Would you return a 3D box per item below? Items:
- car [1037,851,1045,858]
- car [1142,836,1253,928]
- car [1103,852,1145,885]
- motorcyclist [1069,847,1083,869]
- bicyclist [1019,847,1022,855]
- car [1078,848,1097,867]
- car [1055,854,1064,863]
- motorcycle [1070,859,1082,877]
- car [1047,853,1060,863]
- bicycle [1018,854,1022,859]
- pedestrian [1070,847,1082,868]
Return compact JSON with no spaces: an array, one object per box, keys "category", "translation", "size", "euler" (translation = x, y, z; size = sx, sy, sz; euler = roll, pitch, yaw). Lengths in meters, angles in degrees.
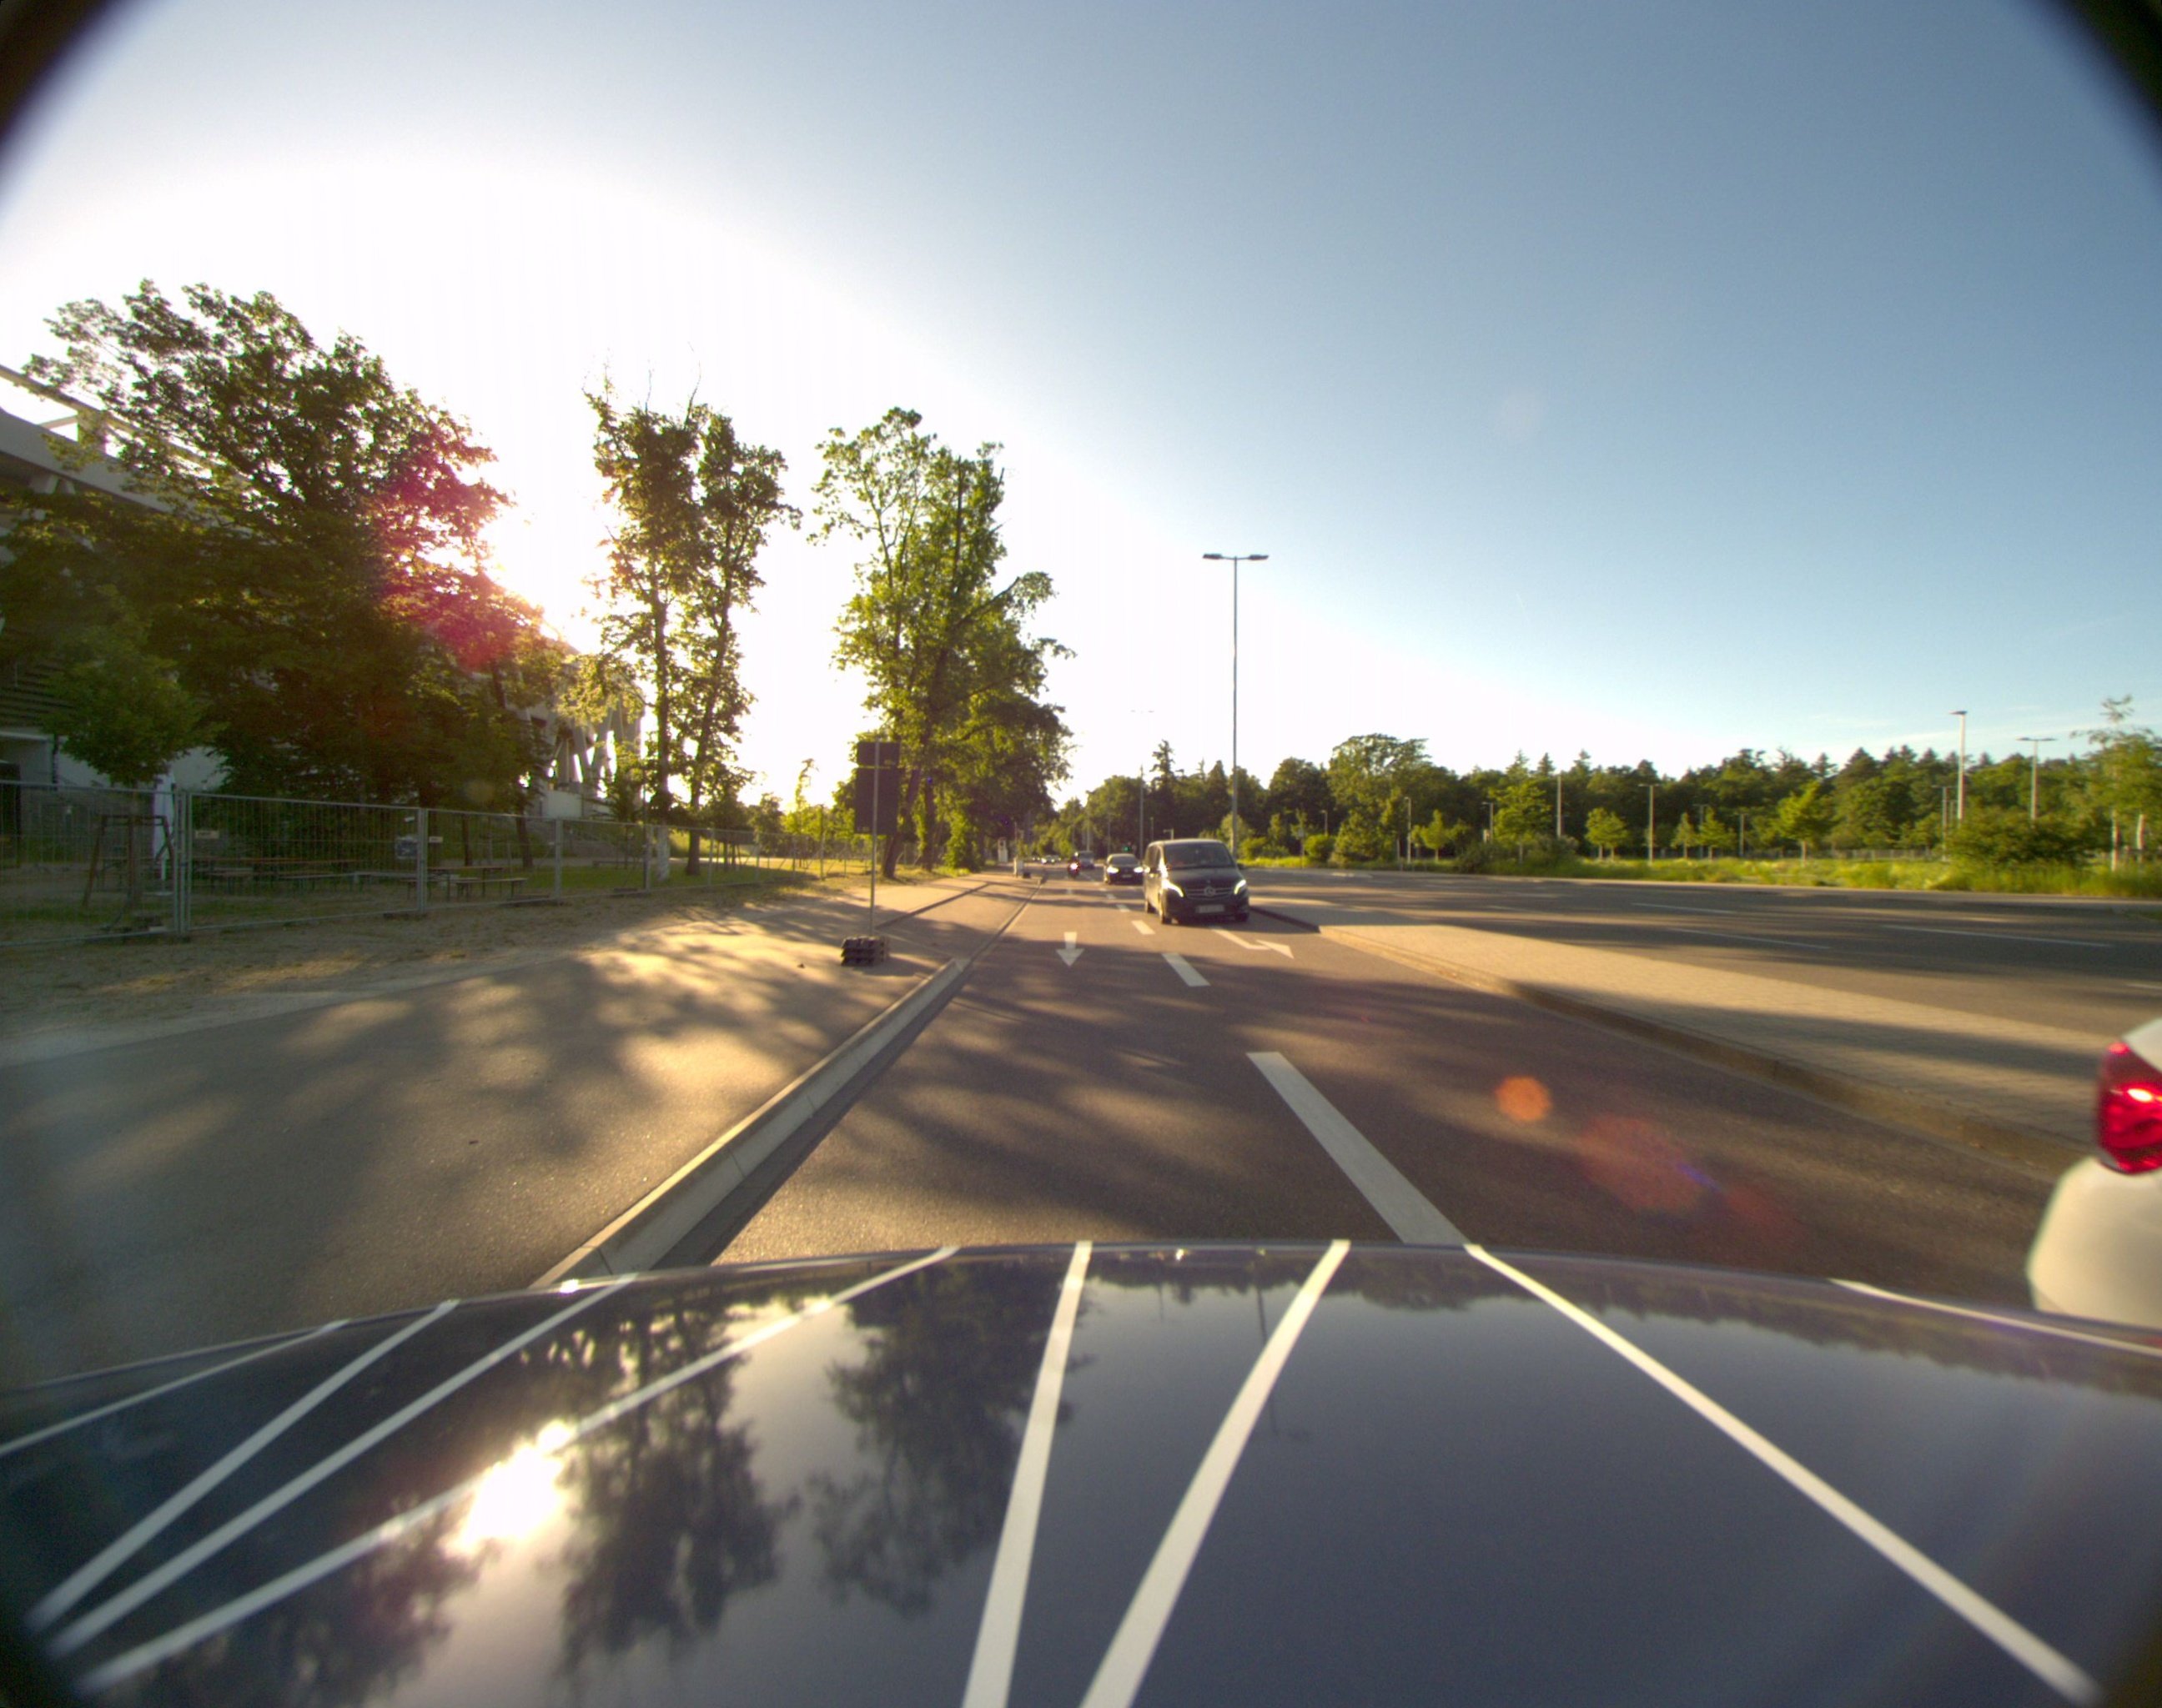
[{"category":"car","translation":[-10.954,0.168,209.442],"size":[1.774,1.849,3.999],"euler":[-2,1,1]},{"category":"car","translation":[2.611,0.528,18.191],"size":[1.912,1.845,4.872],"euler":[-2,1,1]},{"category":"car","translation":[2.186,0.687,39.382],"size":[1.883,1.528,3.999],"euler":[-2,1,0]},{"category":"motorcyclist","translation":[-0.316,0.253,49.410],"size":[0.822,1.367,0.476],"euler":[-2,1,1]},{"category":"bicyclist","translation":[-10.171,-0.533,127.779],"size":[0.451,1.412,0.575],"euler":[0,1,0]},{"category":"car","translation":[0.695,0.374,81.375],"size":[1.883,1.951,5.048],"euler":[-2,0,0]},{"category":"car","translation":[-4.477,0.946,158.239],"size":[1.675,1.827,3.982],"euler":[-2,1,1]},{"category":"motorcycle","translation":[-0.310,0.899,49.588],"size":[0.717,1.058,2.721],"euler":[-2,0,1]},{"category":"car","translation":[-4.704,0.663,129.890],"size":[1.883,1.629,5.048],"euler":[-2,0,0]},{"category":"bicycle","translation":[-10.182,0.441,127.778],"size":[0.481,0.854,1.910],"euler":[0,0,1]},{"category":"pedestrian","translation":[-0.321,0.235,49.966],"size":[0.739,1.387,0.500],"euler":[-2,1,1]}]
